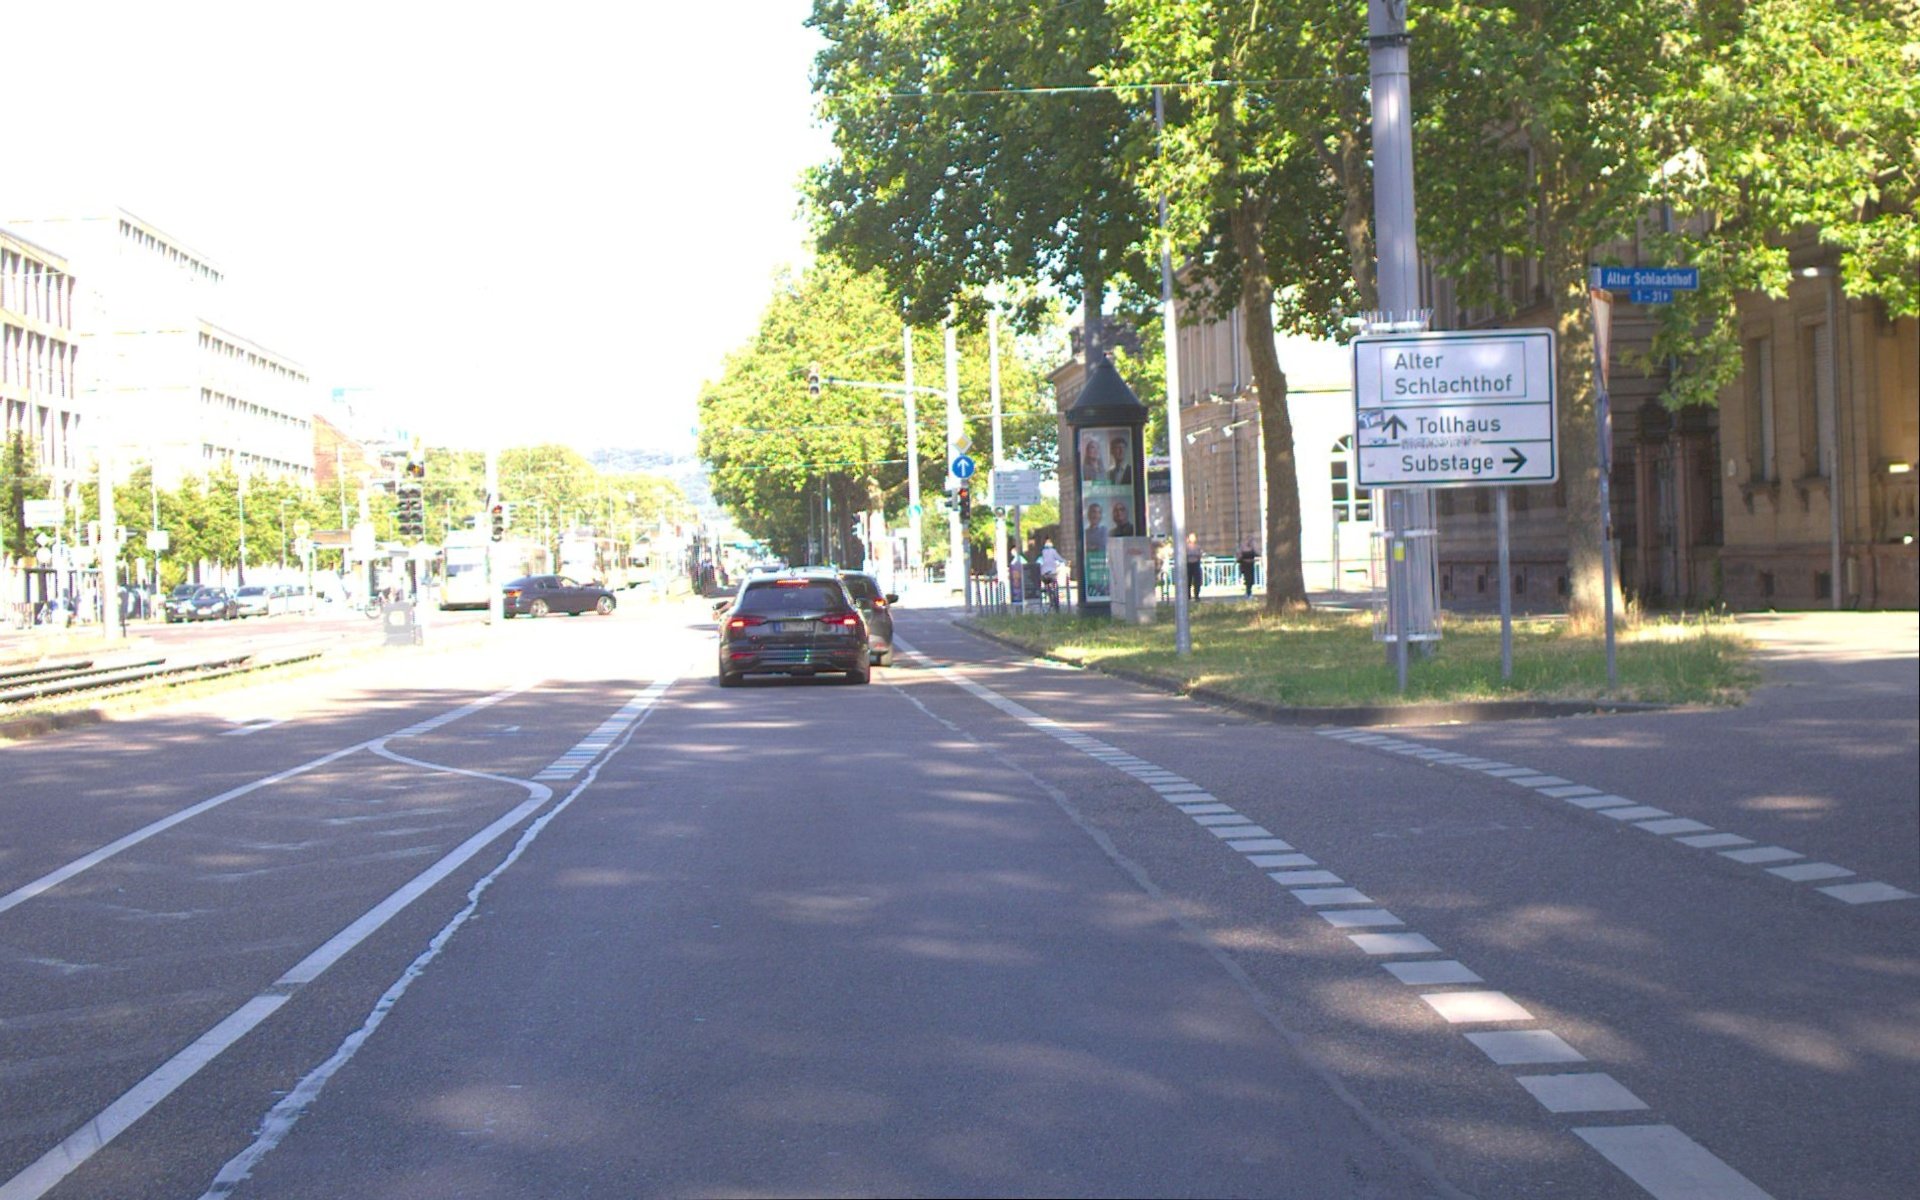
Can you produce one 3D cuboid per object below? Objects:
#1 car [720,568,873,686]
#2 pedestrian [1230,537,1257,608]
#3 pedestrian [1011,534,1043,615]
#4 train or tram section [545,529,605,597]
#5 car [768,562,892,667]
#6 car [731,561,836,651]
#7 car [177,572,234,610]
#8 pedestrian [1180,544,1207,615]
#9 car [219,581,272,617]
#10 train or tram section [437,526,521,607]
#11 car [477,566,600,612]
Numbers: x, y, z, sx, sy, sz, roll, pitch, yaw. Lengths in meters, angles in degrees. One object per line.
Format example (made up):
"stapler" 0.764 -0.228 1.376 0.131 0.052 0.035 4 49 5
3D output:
"car" -2.126 0.314 43.990 1.833 1.386 4.159 -1 1 -4
"pedestrian" 6.929 -0.667 84.089 0.588 1.722 0.650 0 1 12
"pedestrian" 1.420 -0.539 73.149 0.588 1.722 0.650 0 1 10
"train or tram section" -20.715 -1.983 185.362 2.825 3.439 9.065 -2 1 -5
"car" -2.028 0.203 53.270 1.794 1.505 4.000 -2 1 -3
"car" -3.188 0.089 62.333 1.794 1.505 4.000 -2 1 -3
"car" -31.452 -0.396 143.344 1.794 1.505 4.001 -2 1 -5
"pedestrian" 5.713 -0.504 84.191 0.588 1.722 0.650 0 1 10
"car" -31.175 -0.054 150.023 1.794 1.505 4.001 -2 1 -5
"train or tram section" -21.459 -1.503 153.771 2.825 3.439 9.065 -2 1 -3
"car" -13.961 -0.357 114.102 1.798 1.505 3.992 0 0 36
